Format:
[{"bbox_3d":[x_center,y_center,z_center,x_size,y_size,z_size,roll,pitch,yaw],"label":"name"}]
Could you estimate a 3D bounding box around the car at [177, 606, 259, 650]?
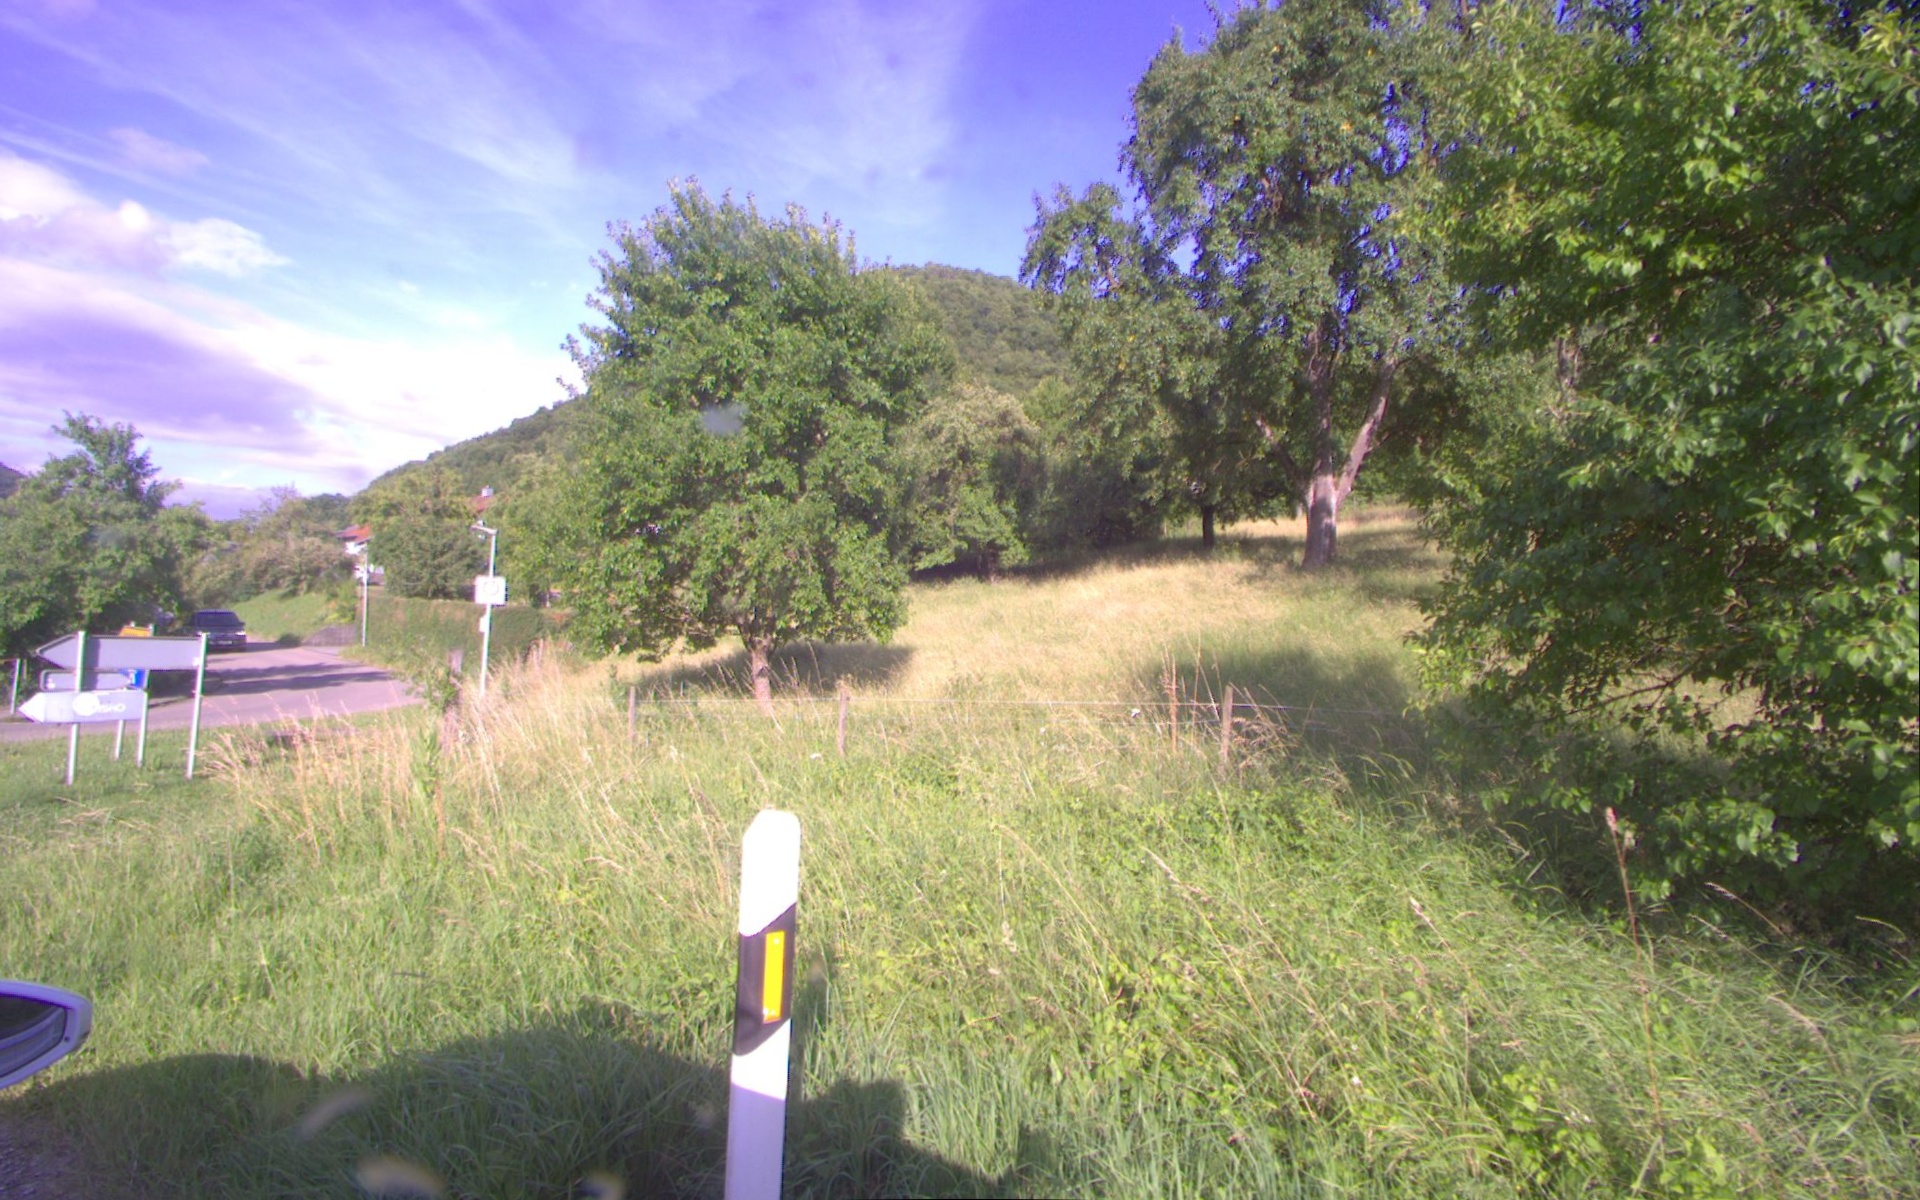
[{"bbox_3d":[-34.573,1.287,46.606,4.814,1.900,1.986,0,-3,41],"label":"car"}]
